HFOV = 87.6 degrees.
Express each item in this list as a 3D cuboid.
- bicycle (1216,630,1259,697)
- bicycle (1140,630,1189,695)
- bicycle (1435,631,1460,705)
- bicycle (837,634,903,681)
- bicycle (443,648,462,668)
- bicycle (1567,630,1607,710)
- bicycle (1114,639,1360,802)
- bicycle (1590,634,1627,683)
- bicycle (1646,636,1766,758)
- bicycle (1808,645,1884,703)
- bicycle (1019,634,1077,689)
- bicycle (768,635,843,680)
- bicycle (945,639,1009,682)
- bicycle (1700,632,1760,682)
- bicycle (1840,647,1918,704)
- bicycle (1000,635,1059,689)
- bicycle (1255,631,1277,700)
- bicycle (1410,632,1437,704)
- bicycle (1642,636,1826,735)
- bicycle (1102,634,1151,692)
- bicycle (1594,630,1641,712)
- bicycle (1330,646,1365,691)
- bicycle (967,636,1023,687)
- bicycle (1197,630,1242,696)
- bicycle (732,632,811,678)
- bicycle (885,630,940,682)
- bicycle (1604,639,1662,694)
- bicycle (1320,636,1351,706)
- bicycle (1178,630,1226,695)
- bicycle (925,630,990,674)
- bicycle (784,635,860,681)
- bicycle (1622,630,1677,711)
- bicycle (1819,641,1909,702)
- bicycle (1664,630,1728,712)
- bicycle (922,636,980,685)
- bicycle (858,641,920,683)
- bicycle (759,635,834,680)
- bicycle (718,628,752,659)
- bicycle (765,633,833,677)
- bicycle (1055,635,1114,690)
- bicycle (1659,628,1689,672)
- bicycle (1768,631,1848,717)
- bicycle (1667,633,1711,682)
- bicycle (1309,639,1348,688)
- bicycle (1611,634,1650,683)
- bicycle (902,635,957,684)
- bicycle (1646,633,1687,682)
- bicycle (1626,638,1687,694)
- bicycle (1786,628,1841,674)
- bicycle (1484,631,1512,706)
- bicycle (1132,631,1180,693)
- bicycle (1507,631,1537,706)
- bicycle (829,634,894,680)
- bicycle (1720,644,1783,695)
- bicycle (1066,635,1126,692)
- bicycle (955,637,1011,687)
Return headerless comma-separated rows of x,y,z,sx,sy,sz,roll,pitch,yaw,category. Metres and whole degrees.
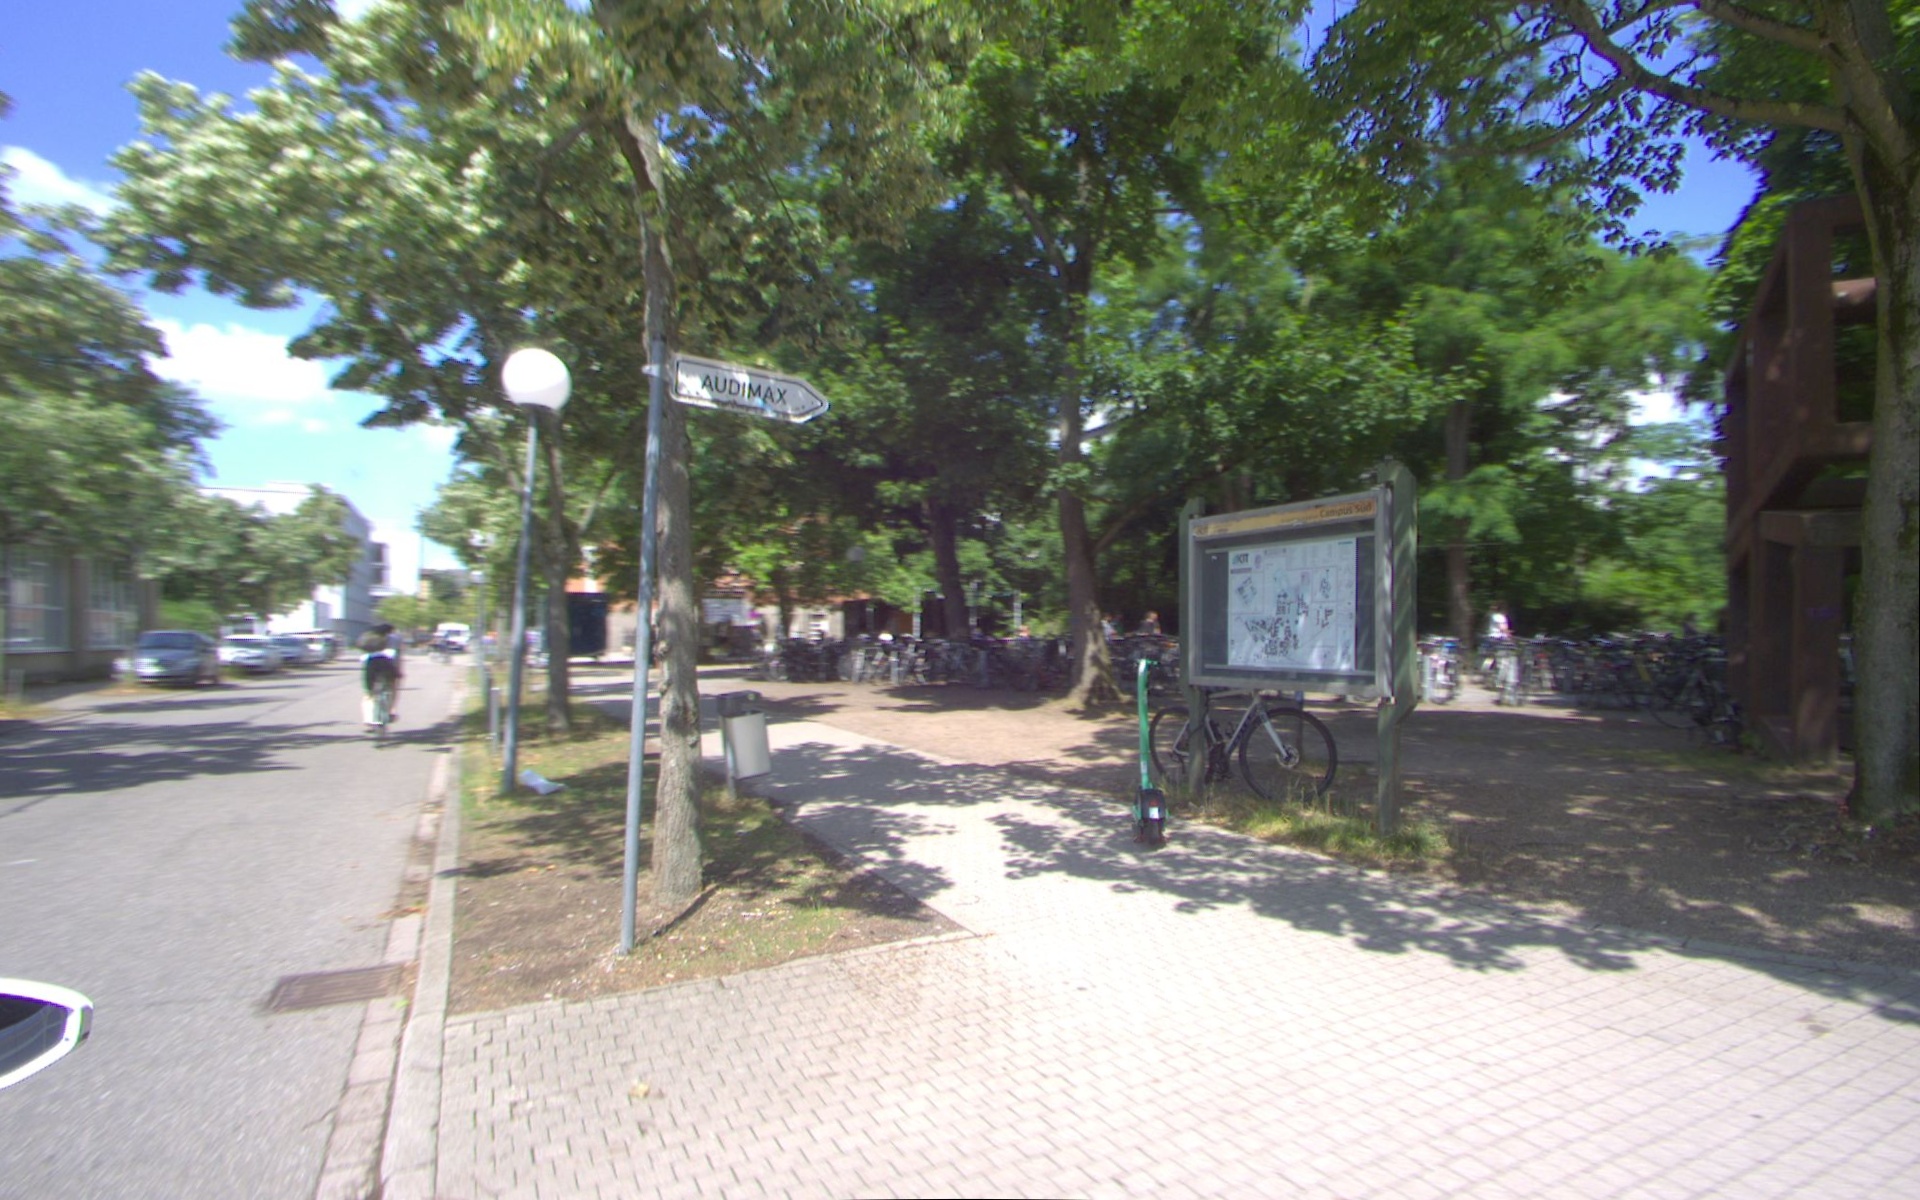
5.178,1.143,18.608,0.340,1.185,1.837,-1,-1,29,bicycle
3.926,1.172,19.153,0.396,1.185,1.786,-1,-1,29,bicycle
8.323,1.126,17.079,0.347,1.185,1.839,-1,-1,27,bicycle
-2.142,1.354,24.046,0.322,1.073,1.899,-1,-2,40,bicycle
-26.506,3.045,52.306,0.798,1.014,2.117,2,-3,-25,bicycle
9.895,1.072,15.833,0.347,1.185,1.839,-1,-1,27,bicycle
2.053,0.891,7.580,1.670,1.096,0.624,-5,-6,41,bicycle
13.963,1.247,21.589,0.397,0.991,1.592,-1,-2,24,bicycle
7.566,0.941,10.238,0.622,1.123,1.918,-2,-3,27,bicycle
17.704,1.457,20.032,0.346,1.097,1.472,2,-2,7,bicycle
1.844,1.261,20.843,0.420,1.083,1.783,-1,-2,33,bicycle
-3.881,1.422,25.201,1.927,1.096,0.401,1,-1,-38,bicycle
0.430,1.613,26.740,1.884,1.096,0.474,-3,-2,44,bicycle
16.058,1.168,20.925,0.372,0.991,1.800,-1,-2,17,bicycle
18.420,1.494,20.096,0.346,1.097,1.472,2,-2,7,bicycle
1.478,1.276,21.078,0.420,1.083,1.783,-1,-2,33,bicycle
5.574,1.159,18.271,0.339,1.185,1.843,0,-1,16,bicycle
7.991,1.138,17.238,0.347,1.185,1.839,-1,-1,27,bicycle
9.183,1.014,11.957,1.644,1.123,0.474,-2,-2,27,bicycle
3.320,1.222,19.814,0.420,1.083,1.786,-1,-2,28,bicycle
10.152,1.062,15.500,0.382,1.185,1.839,-1,-1,27,bicycle
9.270,1.608,23.909,0.373,0.991,1.893,-2,-2,33,bicycle
0.772,1.317,21.719,0.376,1.041,1.784,-1,-2,32,bicycle
4.886,1.151,18.799,0.340,1.185,1.837,-1,-1,29,bicycle
-4.979,1.436,26.516,1.997,1.182,0.647,1,-1,-38,bicycle
-1.096,1.282,23.317,0.487,1.170,1.732,-1,-1,27,bicycle
13.020,1.259,19.416,0.470,0.991,1.900,-1,-2,20,bicycle
6.710,1.237,17.869,0.340,1.185,1.839,-1,-1,26,bicycle
4.618,1.159,19.071,0.396,1.185,1.837,-1,-2,29,bicycle
-0.083,1.341,25.922,1.884,1.096,0.474,-3,-2,44,bicycle
-3.380,1.411,24.704,1.927,1.096,0.401,1,-1,-38,bicycle
10.662,1.056,15.520,0.382,1.185,1.840,0,-1,24,bicycle
16.131,1.254,17.916,0.470,0.991,1.901,-1,-2,19,bicycle
11.257,1.054,15.364,0.407,1.185,1.840,-1,-1,24,bicycle
-0.183,1.336,22.551,0.434,1.041,1.788,-1,-2,31,bicycle
-1.631,1.432,23.399,0.488,0.921,1.729,-1,-2,34,bicycle
-4.149,1.445,25.534,1.927,1.096,0.401,1,-1,-38,bicycle
-9.409,1.823,41.849,1.719,1.269,0.526,-2,-1,44,bicycle
-4.164,1.418,26.001,1.752,1.096,0.435,1,-1,-38,bicycle
2.571,1.257,20.513,0.421,1.083,1.782,-1,-2,35,bicycle
18.539,1.282,26.022,0.342,1.107,1.606,-1,-2,26,bicycle
12.482,1.052,14.782,0.407,1.185,1.840,-1,-1,24,bicycle
15.377,1.193,21.145,0.397,0.991,1.592,-1,-2,24,bicycle
8.026,1.358,21.764,0.373,0.991,1.893,-2,-2,33,bicycle
14.325,1.232,21.412,0.397,0.991,1.592,-1,-2,24,bicycle
-0.674,1.319,22.641,0.487,1.066,1.732,-1,-2,27,bicycle
15.026,1.204,21.314,0.397,0.991,1.592,-1,-2,24,bicycle
13.377,1.247,19.282,0.470,0.991,1.900,-1,-2,20,bicycle
21.332,1.255,25.055,0.342,1.107,1.610,-1,-2,15,bicycle
9.002,1.114,16.778,0.347,1.185,1.839,-1,-1,27,bicycle
3.916,1.205,19.952,0.396,1.185,1.786,-1,-1,29,bicycle
9.317,1.101,16.623,0.347,1.185,1.839,-1,-1,27,bicycle
-2.366,1.364,24.258,0.322,1.073,1.899,-1,-2,40,bicycle
16.415,1.421,20.798,0.372,0.991,1.800,-1,-2,17,bicycle
2.741,1.248,20.044,0.421,1.083,1.782,-1,-2,35,bicycle
0.525,1.331,21.993,0.376,1.041,1.785,-1,-2,31,bicycle
